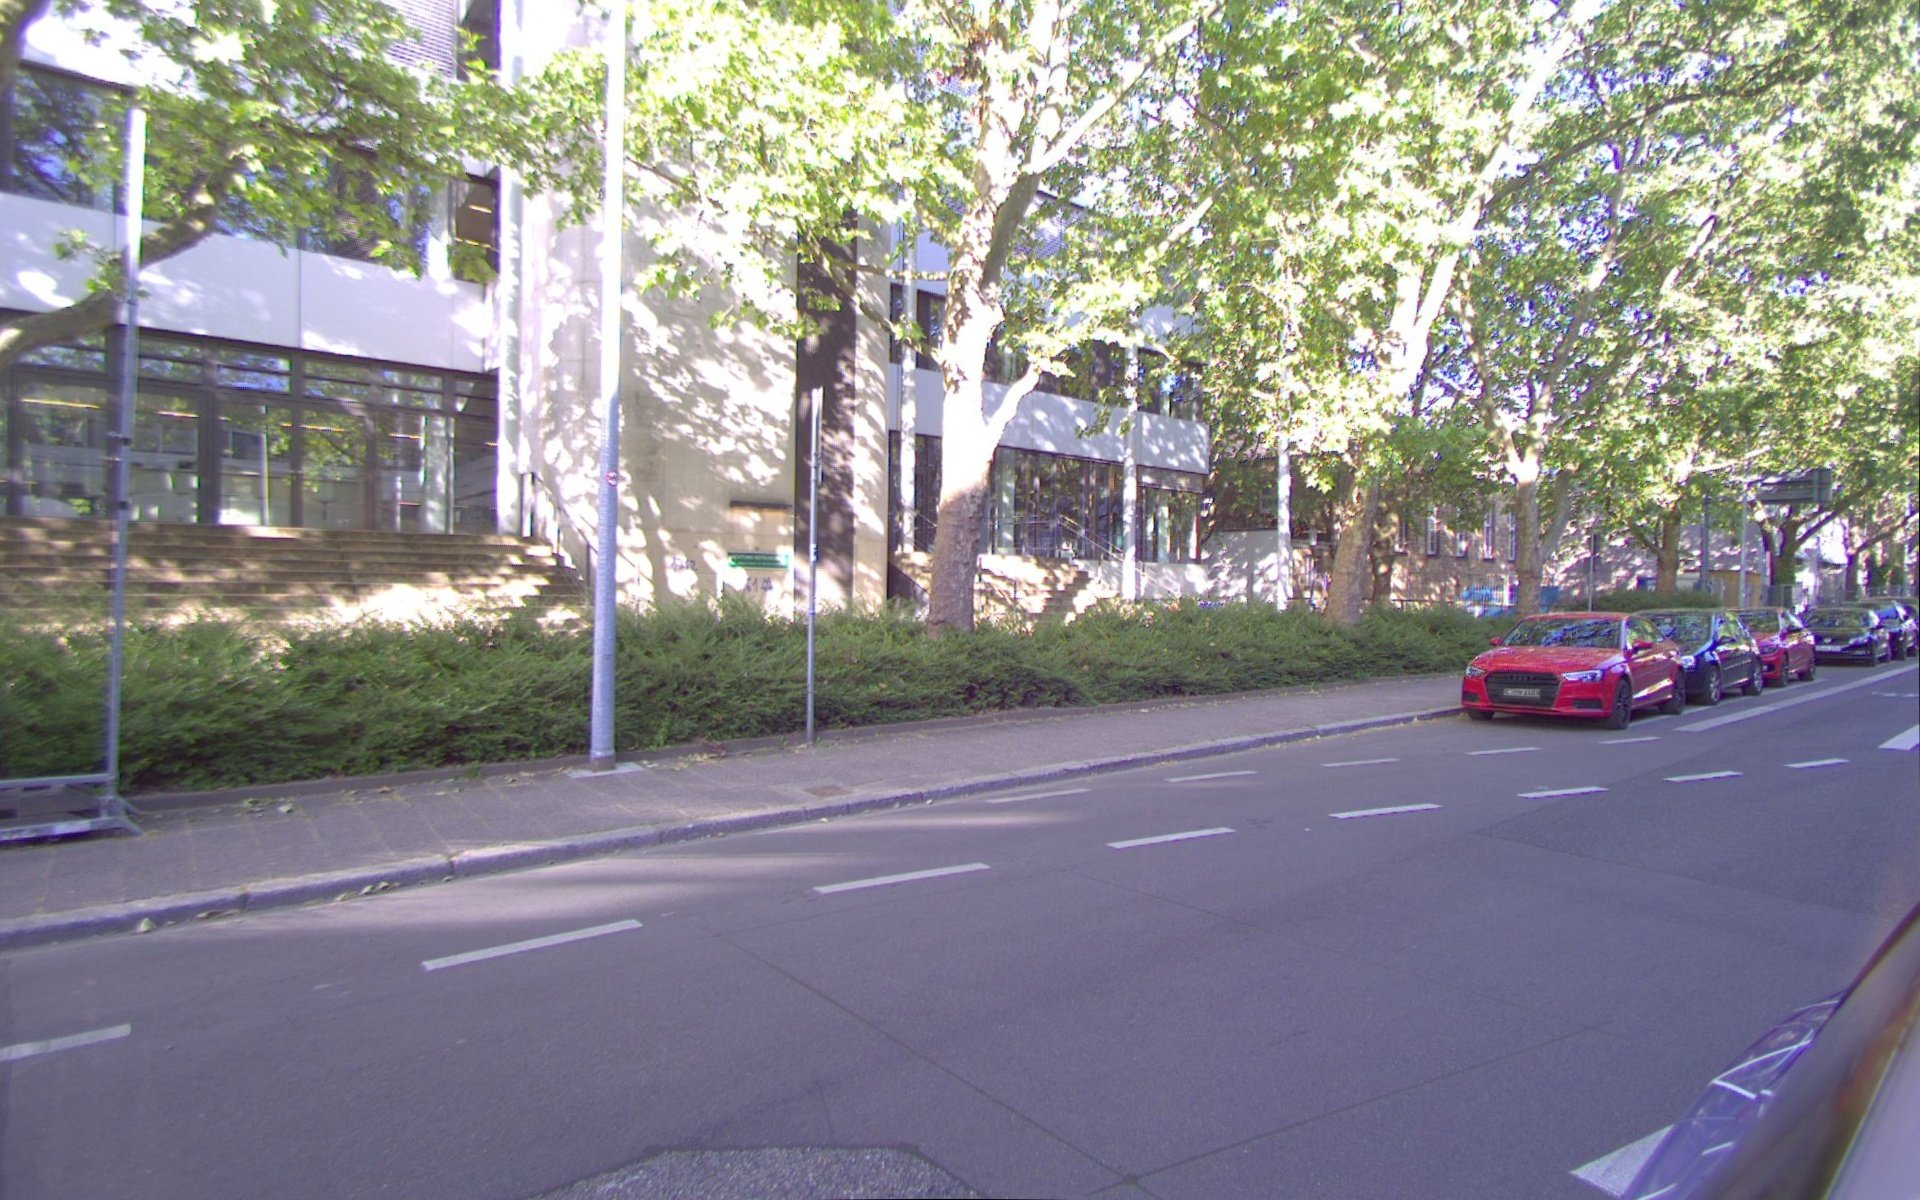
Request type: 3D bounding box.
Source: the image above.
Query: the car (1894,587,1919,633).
[{"bbox_3d":[35.733,0.366,37.075,4.004,1.638,1.797,0,1,-41],"label":"car"}]

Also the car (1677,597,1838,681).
[{"bbox_3d":[15.777,0.691,19.967,3.930,1.456,1.789,0,1,-41],"label":"car"}]

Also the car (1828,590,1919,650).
[{"bbox_3d":[26.640,0.527,29.192,4.158,1.601,1.847,0,1,-41],"label":"car"}]

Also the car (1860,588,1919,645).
[{"bbox_3d":[31.075,0.485,33.053,4.188,1.747,1.997,-1,0,-41],"label":"car"}]

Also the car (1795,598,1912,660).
[{"bbox_3d":[22.977,0.683,25.995,3.930,1.456,1.744,0,1,-41],"label":"car"}]

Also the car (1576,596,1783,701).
[{"bbox_3d":[11.773,0.691,16.472,3.929,1.475,1.812,0,1,-40],"label":"car"}]

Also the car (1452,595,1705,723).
[{"bbox_3d":[8.352,0.672,13.522,4.101,1.443,1.773,0,-1,-42],"label":"car"}]
